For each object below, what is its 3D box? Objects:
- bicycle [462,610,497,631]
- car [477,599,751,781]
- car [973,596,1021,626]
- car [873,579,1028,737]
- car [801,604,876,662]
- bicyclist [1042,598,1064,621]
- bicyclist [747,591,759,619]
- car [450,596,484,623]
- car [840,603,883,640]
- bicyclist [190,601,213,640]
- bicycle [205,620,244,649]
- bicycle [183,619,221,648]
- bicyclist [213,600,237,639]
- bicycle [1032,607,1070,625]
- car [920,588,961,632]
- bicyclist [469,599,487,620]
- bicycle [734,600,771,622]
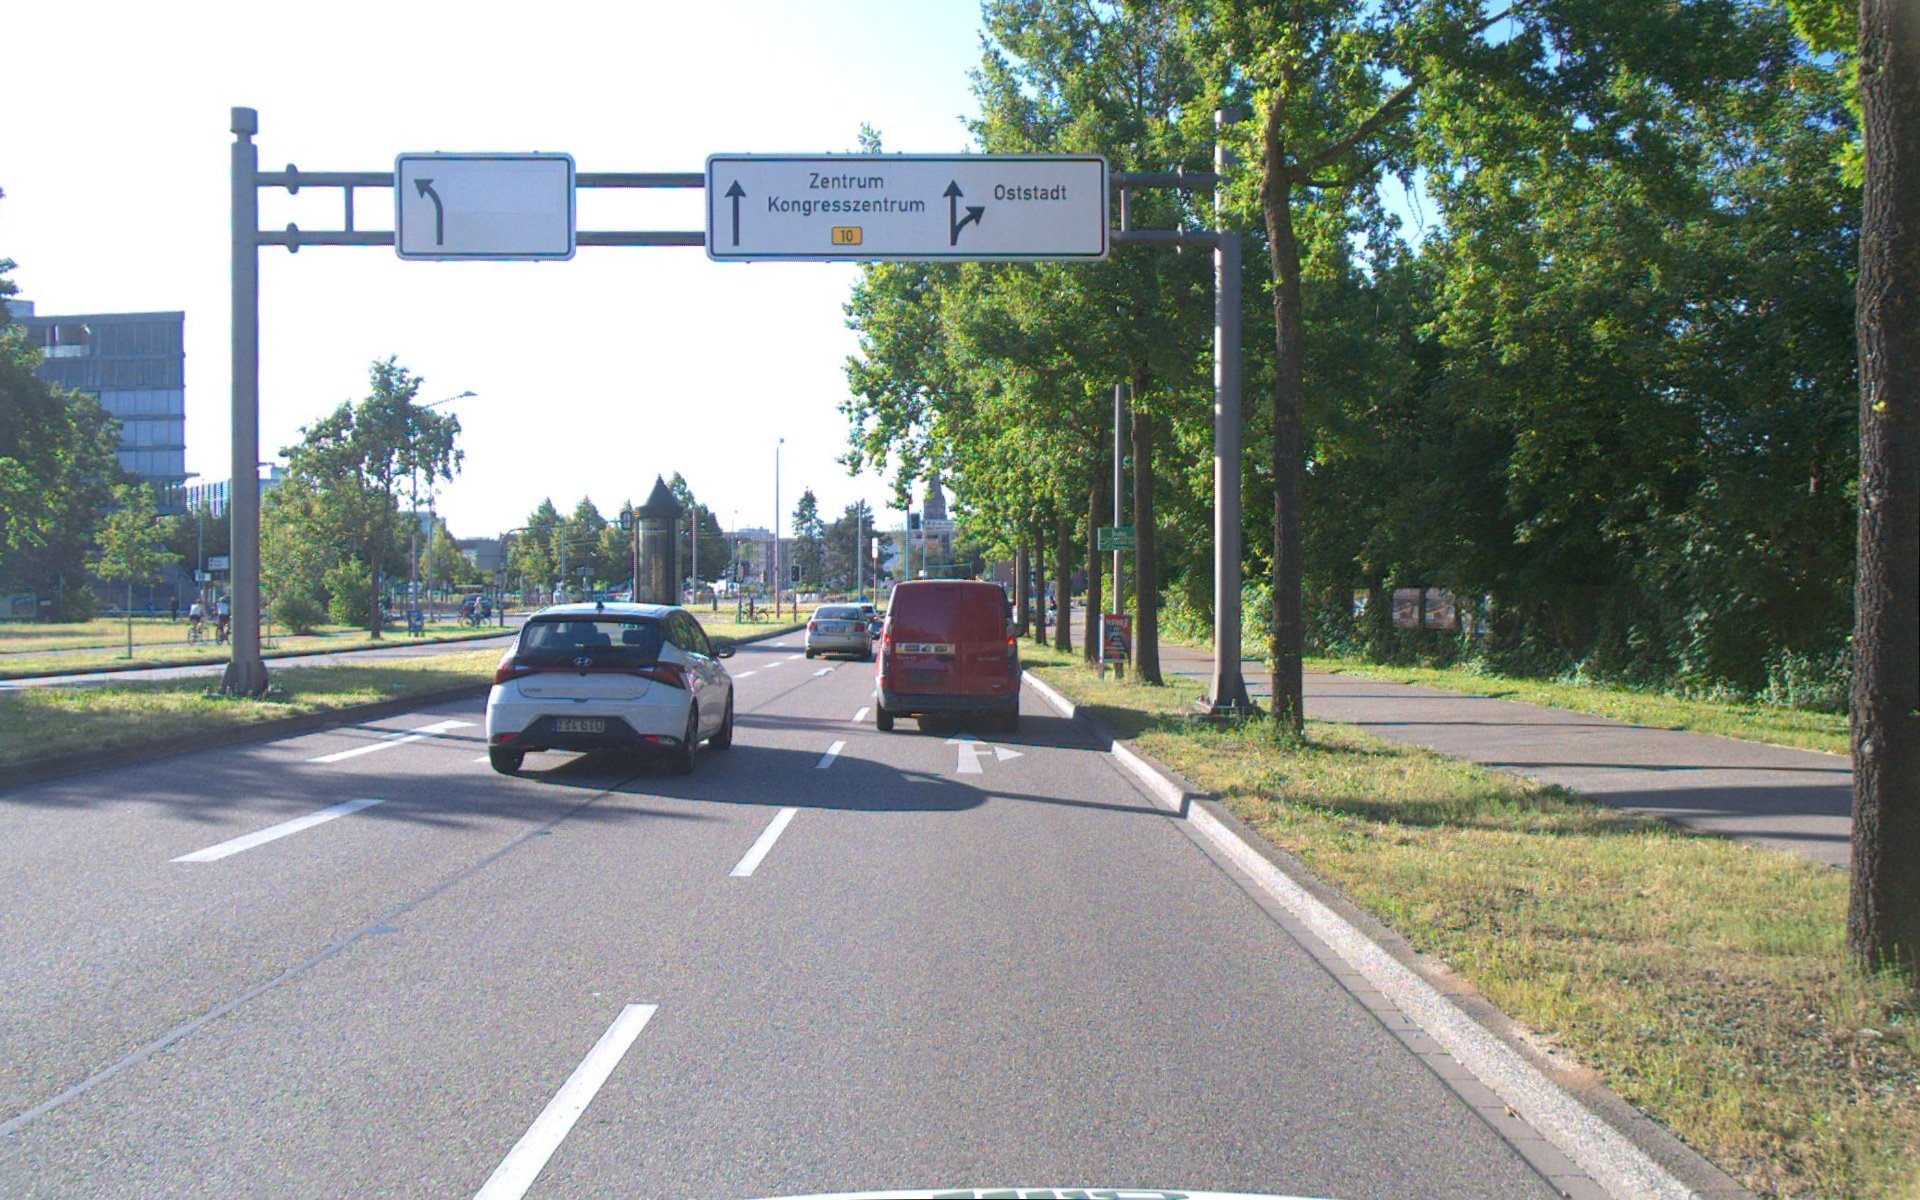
[{"bbox_3d":[-25.857,1.100,89.029,1.690,1.126,0.605,0,0,12],"label":"bicycle"},{"bbox_3d":[-3.092,0.737,15.590,1.742,1.433,4.074,0,1,0],"label":"car"},{"bbox_3d":[2.129,0.610,93.549,1.734,1.653,3.928,1,0,16],"label":"car"},{"bbox_3d":[-0.140,0.652,21.062,1.769,1.790,4.005,1,0,-1],"label":"car"},{"bbox_3d":[-3.357,0.886,46.379,1.803,1.482,4.162,1,0,0],"label":"car"},{"bbox_3d":[5.193,0.506,91.978,0.959,1.271,0.780,0,0,-33],"label":"bicyclist"},{"bbox_3d":[-11.182,0.264,89.189,0.591,1.494,0.517,0,0,-2],"label":"bicyclist"},{"bbox_3d":[-36.565,0.698,122.588,1.617,1.909,3.960,0,0,-30],"label":"car"},{"bbox_3d":[-4.033,0.865,68.023,1.627,1.422,3.558,0,0,-1],"label":"car"},{"bbox_3d":[-28.006,0.737,61.051,0.472,1.419,0.844,0,0,-2],"label":"bicyclist"},{"bbox_3d":[-26.979,1.241,60.694,0.558,1.021,2.095,0,0,-2],"label":"bicycle"},{"bbox_3d":[-28.000,1.233,61.105,0.477,1.021,2.095,0,0,-2],"label":"bicycle"},{"bbox_3d":[-26.981,0.727,60.711,0.551,1.416,0.747,0,0,-2],"label":"bicyclist"},{"bbox_3d":[5.059,0.875,91.873,2.100,0.975,0.780,0,0,-33],"label":"bicycle"},{"bbox_3d":[-0.859,0.427,70.336,1.626,1.792,3.495,0,0,-3],"label":"car"},{"bbox_3d":[-25.952,0.509,89.059,0.719,1.126,0.605,0,0,12],"label":"bicyclist"},{"bbox_3d":[-11.182,0.606,89.193,1.919,1.186,0.517,0,0,-2],"label":"bicycle"}]
